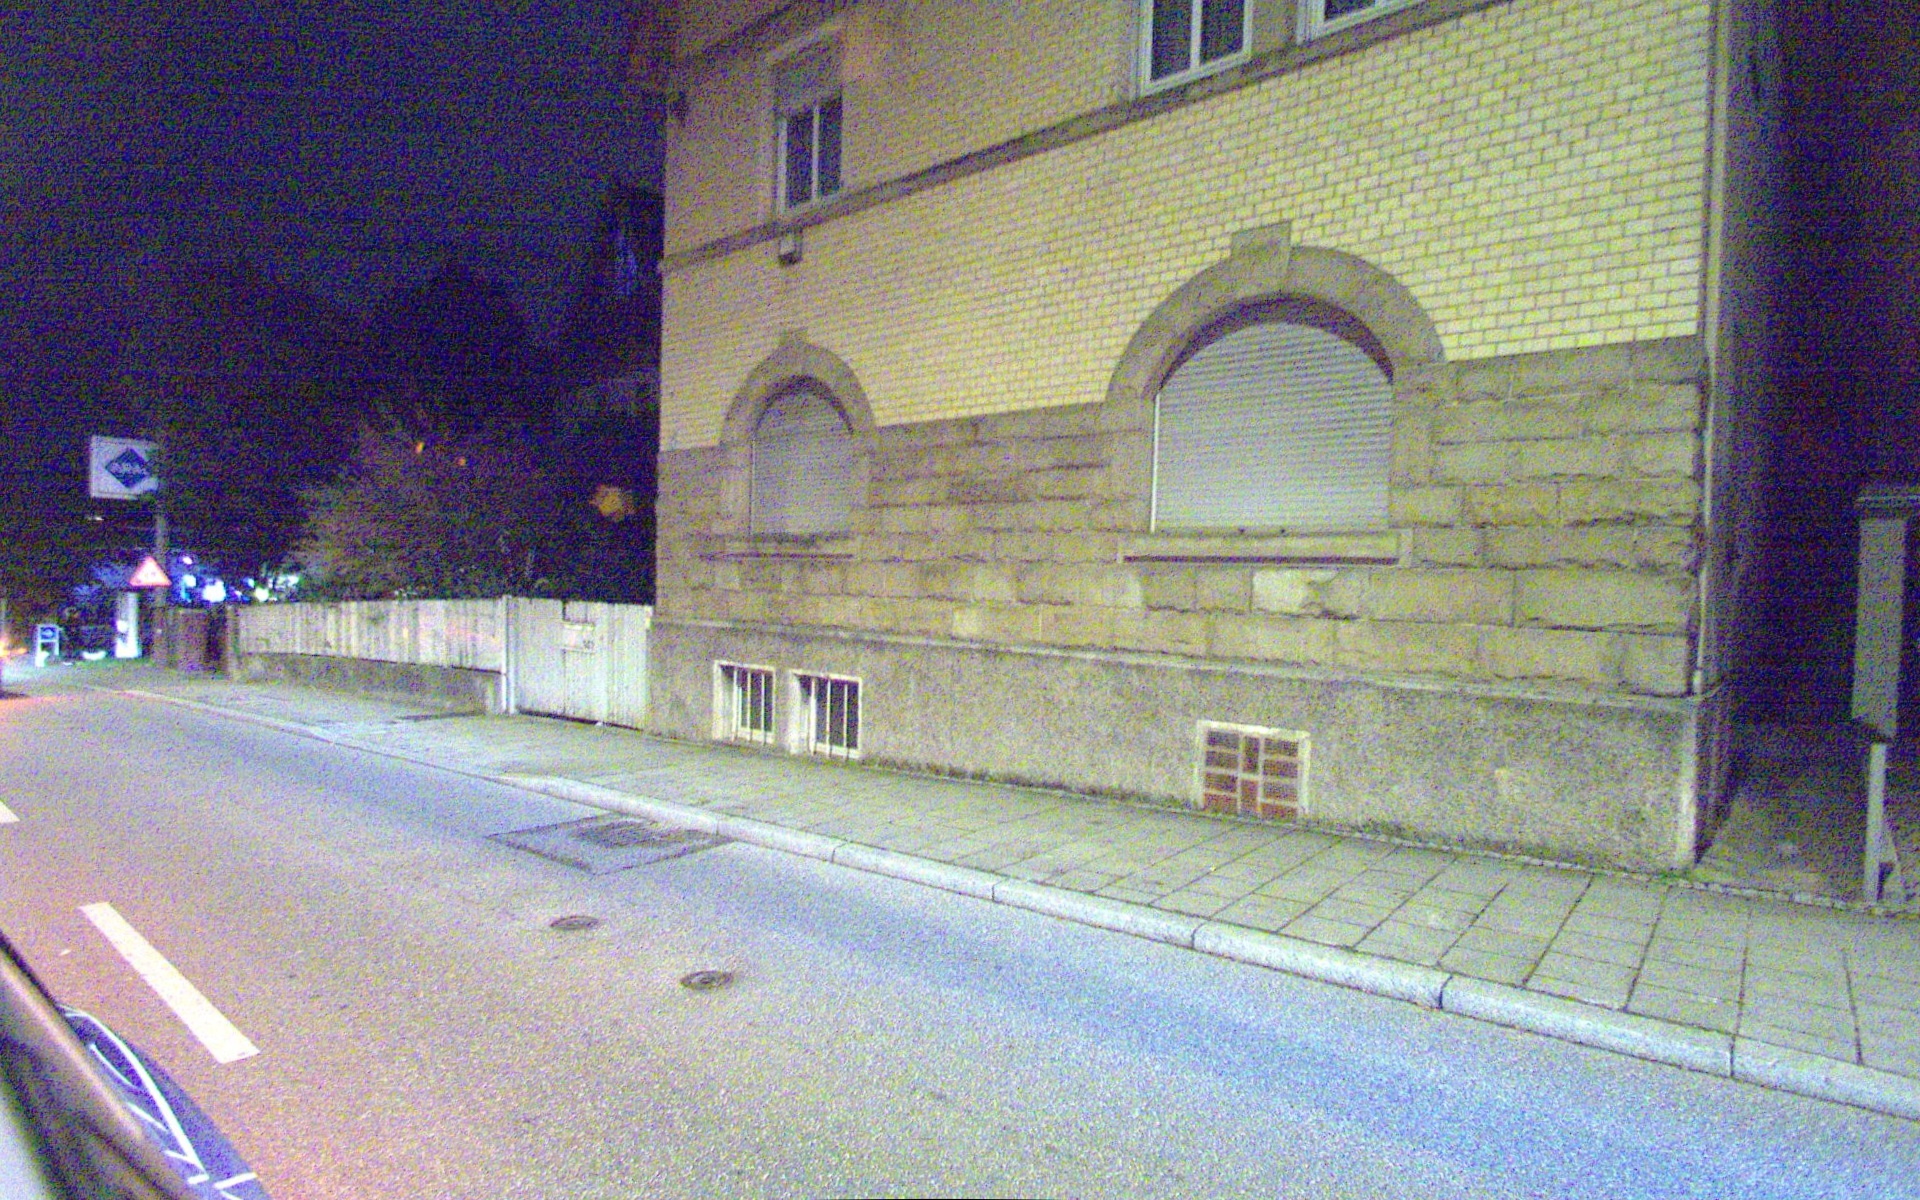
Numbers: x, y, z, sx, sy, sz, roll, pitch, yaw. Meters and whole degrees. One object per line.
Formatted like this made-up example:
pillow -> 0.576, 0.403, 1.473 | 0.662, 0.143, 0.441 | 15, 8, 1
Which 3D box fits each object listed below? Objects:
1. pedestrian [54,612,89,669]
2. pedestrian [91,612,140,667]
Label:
pedestrian -> -27.653, 1.251, 31.502 | 0.865, 1.739, 0.662 | -1, -1, 38
pedestrian -> -26.627, 1.236, 31.918 | 0.744, 1.684, 1.089 | -1, 0, 40
